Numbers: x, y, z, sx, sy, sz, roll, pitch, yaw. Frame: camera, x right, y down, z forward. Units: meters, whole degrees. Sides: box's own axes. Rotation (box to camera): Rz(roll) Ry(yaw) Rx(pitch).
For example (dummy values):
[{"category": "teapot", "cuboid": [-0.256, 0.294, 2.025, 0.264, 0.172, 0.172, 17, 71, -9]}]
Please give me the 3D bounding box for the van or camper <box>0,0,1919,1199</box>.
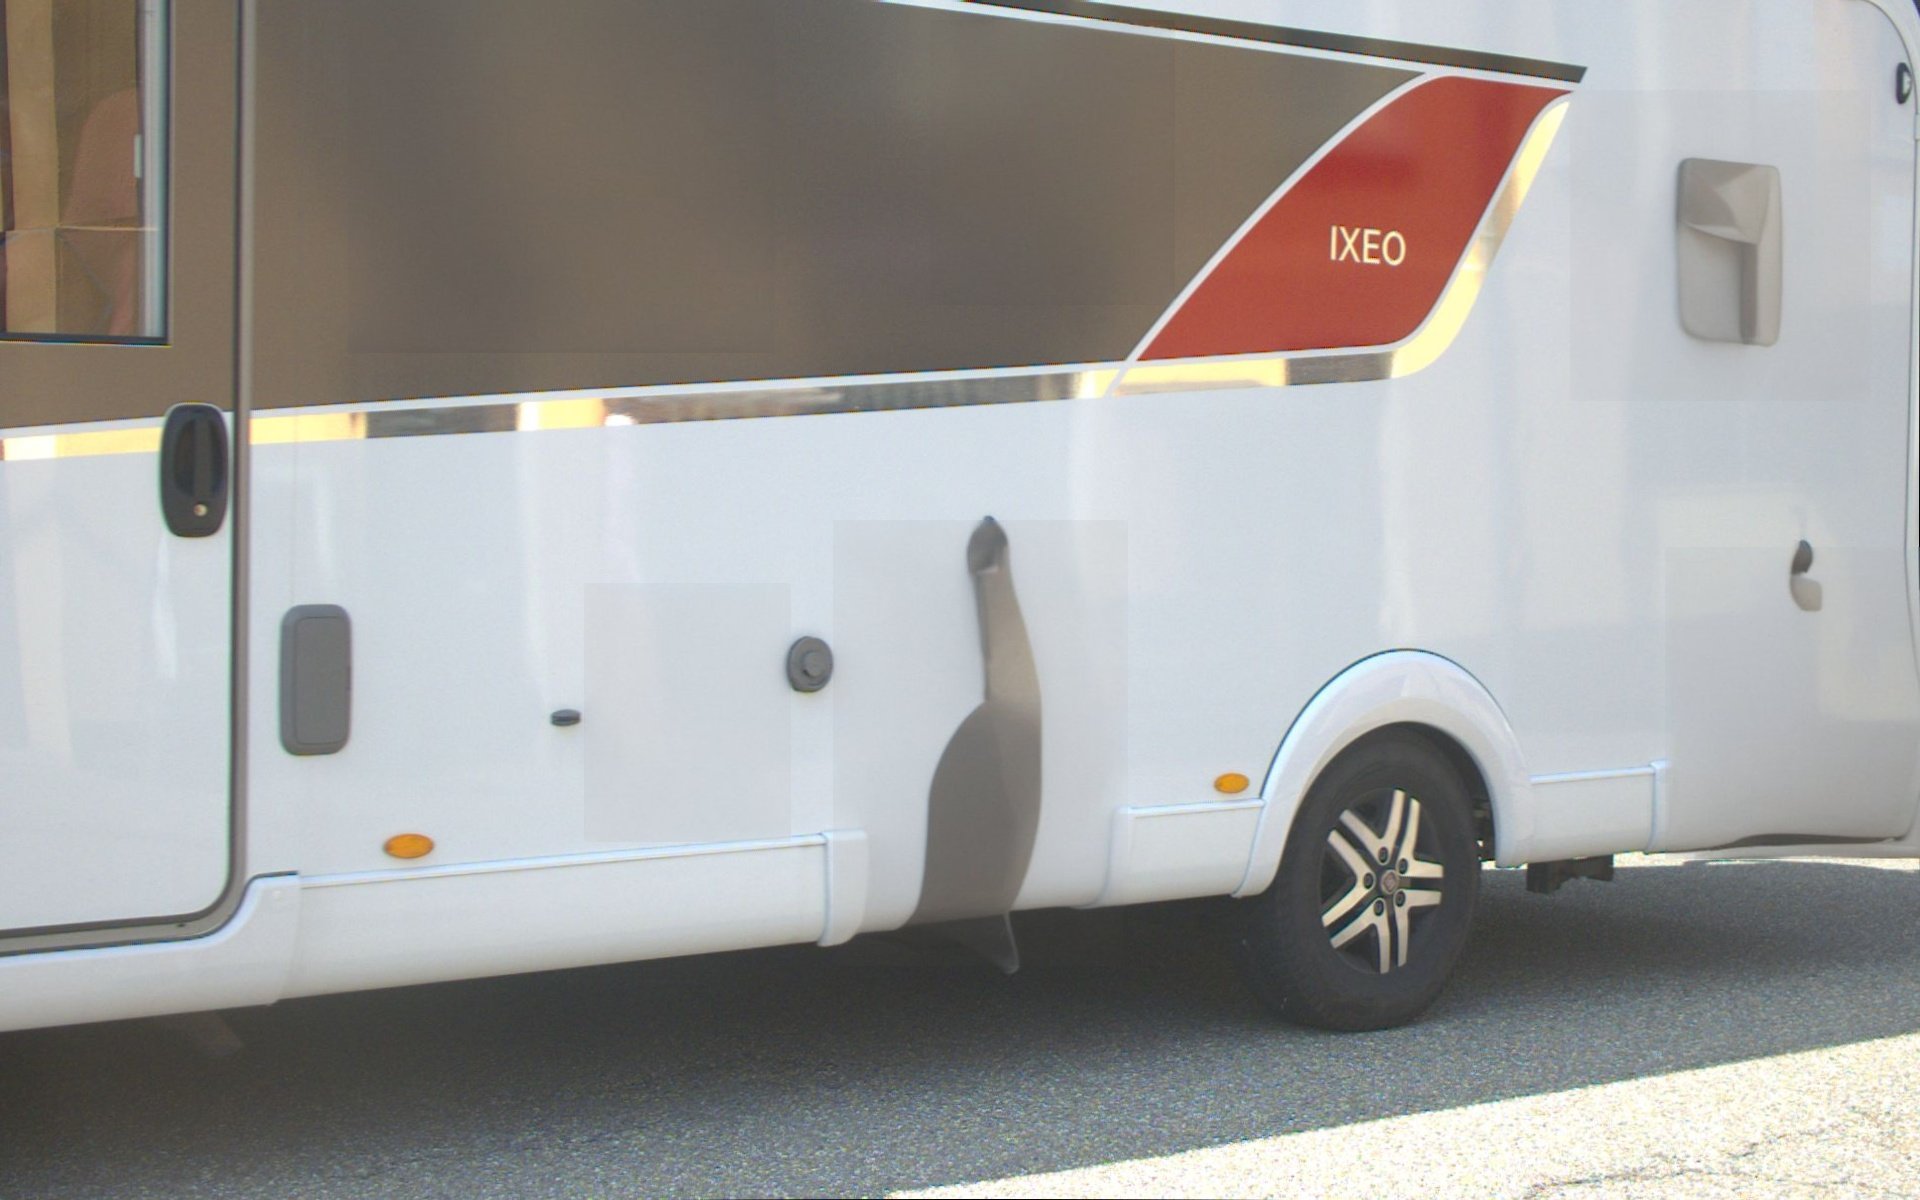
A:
[{"category": "van or camper", "cuboid": [-0.580, -0.506, 7.978, 8.028, 2.942, 2.365, -1, 4, -41]}]
